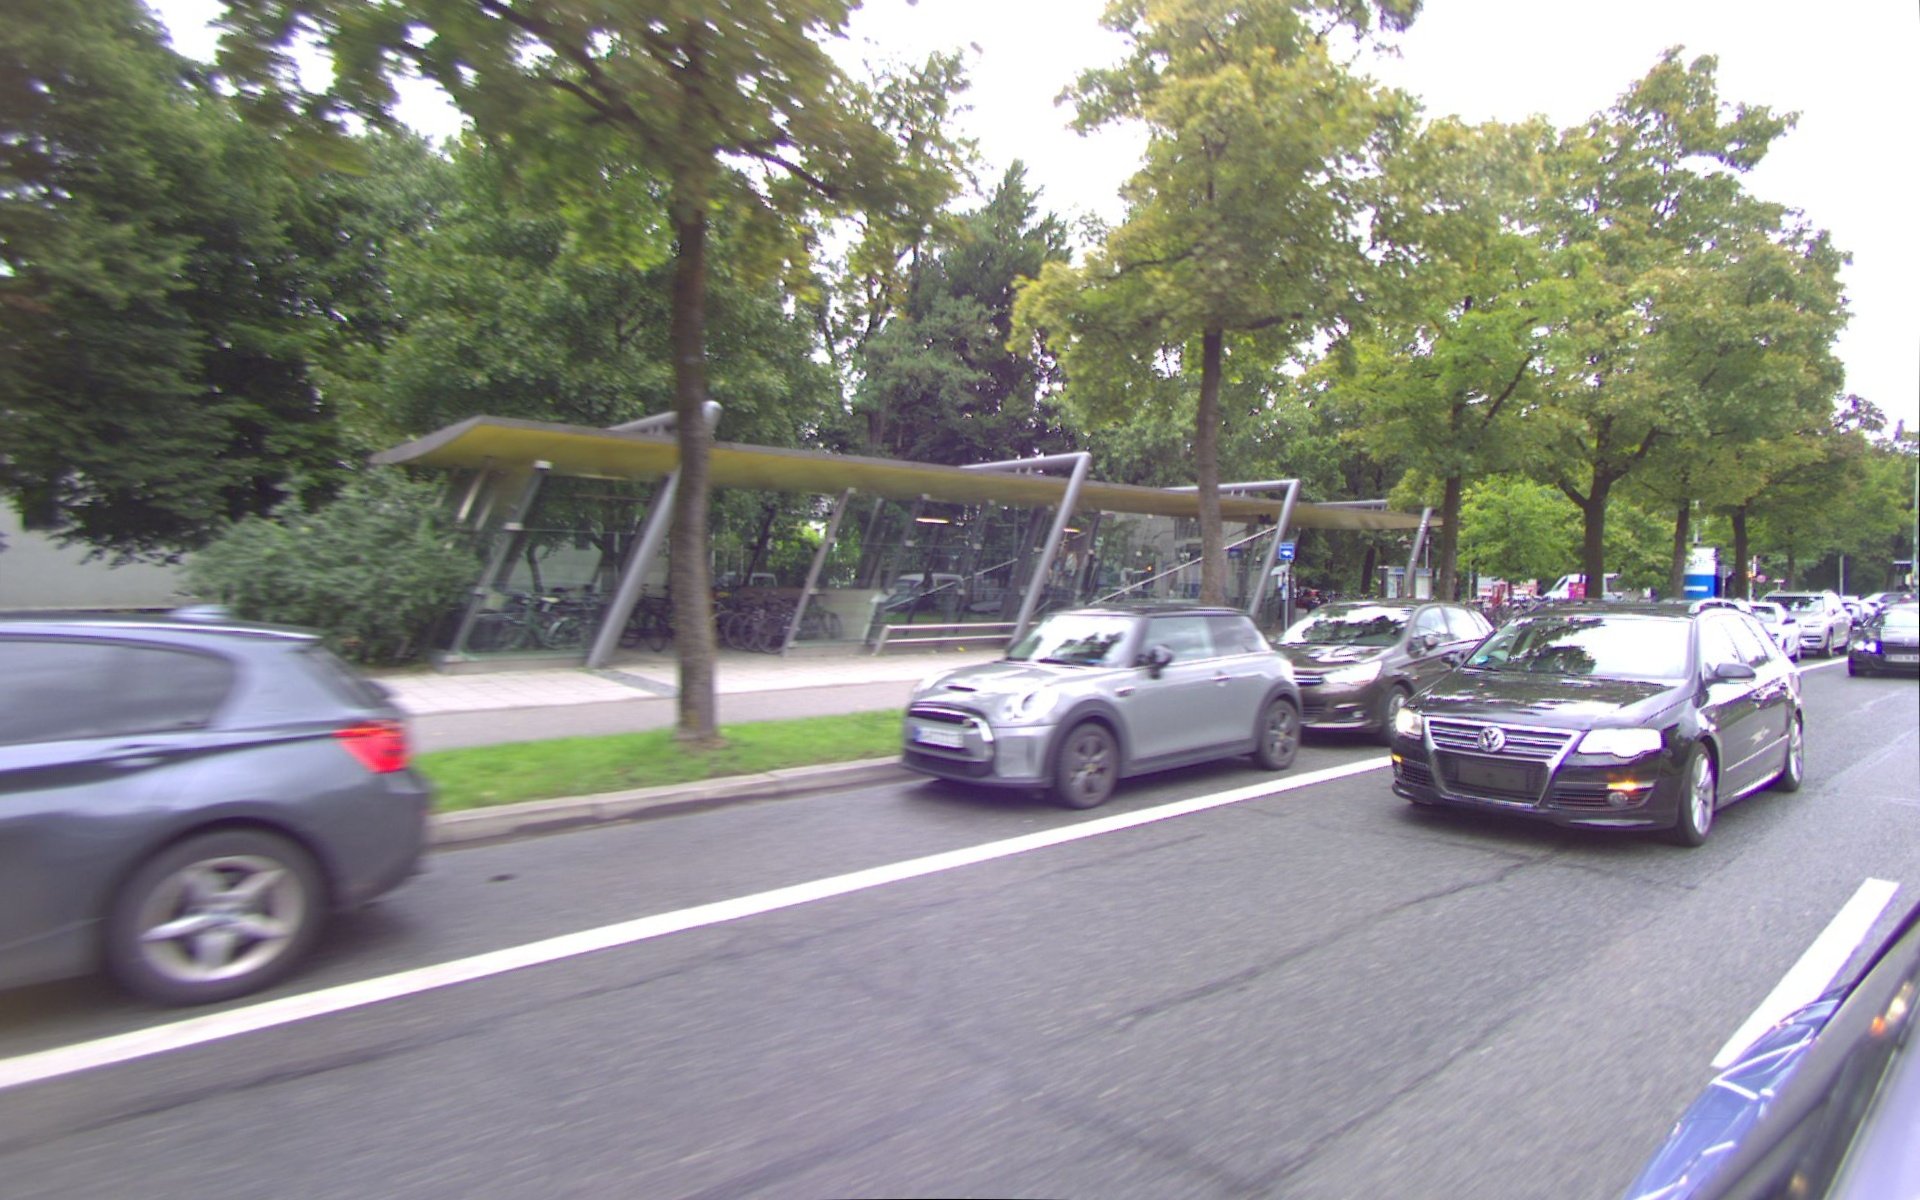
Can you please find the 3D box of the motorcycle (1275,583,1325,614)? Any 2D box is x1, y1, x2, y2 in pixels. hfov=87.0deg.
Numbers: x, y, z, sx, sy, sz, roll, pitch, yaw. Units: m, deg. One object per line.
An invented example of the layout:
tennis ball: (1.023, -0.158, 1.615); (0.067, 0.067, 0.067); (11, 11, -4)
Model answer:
motorcycle: (13.449, -0.056, 40.006); (1.775, 1.192, 0.660); (1, 1, -15)

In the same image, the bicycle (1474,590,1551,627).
bicycle: (19.743, 0.283, 36.233); (0.520, 1.171, 2.344); (1, 3, -40)

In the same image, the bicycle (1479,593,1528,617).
bicycle: (27.704, 0.236, 51.574); (2.088, 1.168, 0.718); (1, 1, 0)

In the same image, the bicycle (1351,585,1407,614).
bicycle: (19.215, -0.053, 46.445); (0.520, 1.171, 2.344); (1, 3, -40)

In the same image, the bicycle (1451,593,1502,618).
bicycle: (25.291, 0.244, 49.603); (2.091, 1.168, 0.718); (1, 1, 5)

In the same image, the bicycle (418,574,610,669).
bicycle: (-6.512, 0.275, 14.887); (2.506, 1.296, 0.646); (0, 1, -41)

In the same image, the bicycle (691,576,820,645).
bicycle: (-4.022, 0.191, 20.098); (2.506, 1.296, 0.646); (0, 1, -41)

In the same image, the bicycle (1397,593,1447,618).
bicycle: (22.599, 0.246, 49.501); (2.092, 1.168, 0.717); (1, 1, 7)

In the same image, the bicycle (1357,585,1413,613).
bicycle: (19.704, -0.055, 46.969); (0.520, 1.171, 2.344); (1, 3, -40)

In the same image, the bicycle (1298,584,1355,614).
bicycle: (16.020, -0.042, 44.307); (0.520, 1.171, 2.344); (1, 3, -40)

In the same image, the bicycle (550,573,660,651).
bicycle: (-6.367, 0.184, 18.056); (2.534, 1.296, 0.486); (1, 1, 36)

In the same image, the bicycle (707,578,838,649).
bicycle: (-3.592, 0.232, 19.579); (2.506, 1.296, 0.646); (0, 1, -41)

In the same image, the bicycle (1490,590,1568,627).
bicycle: (20.573, 0.300, 36.639); (2.337, 1.171, 0.521); (5, 3, 42)

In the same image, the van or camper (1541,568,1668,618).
van or camper: (31.636, -0.353, 49.648); (6.069, 2.325, 2.153); (0, 1, -23)

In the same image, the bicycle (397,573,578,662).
bicycle: (-7.402, 0.244, 15.965); (2.506, 1.296, 0.646); (0, 1, -41)

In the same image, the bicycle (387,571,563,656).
bicycle: (-7.842, 0.191, 16.473); (2.506, 1.296, 0.646); (0, 1, -41)

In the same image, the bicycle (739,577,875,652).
bicycle: (-2.757, 0.239, 18.536); (2.506, 1.296, 0.646); (0, 1, -41)

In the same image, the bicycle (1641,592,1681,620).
bicycle: (31.956, 0.258, 46.111); (1.962, 1.213, 0.864); (0, 3, -37)

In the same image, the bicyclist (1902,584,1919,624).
bicyclist: (43.329, 0.161, 45.734); (0.815, 1.786, 0.743); (1, 1, 14)

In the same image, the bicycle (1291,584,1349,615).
bicycle: (15.582, -0.041, 43.856); (0.520, 1.171, 2.344); (1, 3, -40)

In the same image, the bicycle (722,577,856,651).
bicycle: (-3.186, 0.236, 19.053); (2.506, 1.296, 0.646); (0, 1, -41)

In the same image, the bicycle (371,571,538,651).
bicycle: (-8.684, 0.161, 17.484); (2.506, 1.296, 0.605); (0, 1, -41)

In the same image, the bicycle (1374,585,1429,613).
bicycle: (20.761, -0.058, 47.659); (0.520, 1.171, 2.344); (1, 3, -40)

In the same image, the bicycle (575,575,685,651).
bicycle: (-6.059, 0.211, 18.493); (2.534, 1.296, 0.486); (1, 1, 36)

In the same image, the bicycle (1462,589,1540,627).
bicycle: (18.981, 0.274, 35.578); (0.520, 1.171, 2.344); (1, 3, -40)

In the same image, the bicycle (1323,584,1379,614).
bicycle: (17.404, -0.046, 45.096); (0.520, 1.171, 2.344); (1, 3, -40)

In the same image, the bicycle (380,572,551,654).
bicycle: (-8.255, 0.192, 17.000); (2.506, 1.296, 0.646); (0, 1, -41)

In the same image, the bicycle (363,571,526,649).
bicycle: (-9.099, 0.153, 17.954); (2.506, 1.296, 0.605); (0, 1, -41)

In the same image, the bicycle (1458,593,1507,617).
bicycle: (26.207, 0.240, 50.760); (2.088, 1.168, 0.718); (1, 1, 0)

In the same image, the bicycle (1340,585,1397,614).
bicycle: (18.448, -0.050, 45.744); (0.520, 1.171, 2.344); (1, 3, -40)

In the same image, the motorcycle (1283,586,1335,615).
motorcycle: (13.468, 0.019, 39.092); (1.778, 1.075, 0.659); (1, 1, -2)

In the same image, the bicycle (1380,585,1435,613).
bicycle: (21.205, -0.059, 48.034); (0.520, 1.171, 2.344); (1, 3, -40)

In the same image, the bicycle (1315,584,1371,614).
bicycle: (16.923, -0.045, 44.764); (0.520, 1.171, 2.344); (1, 3, -40)

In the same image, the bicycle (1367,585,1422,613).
bicycle: (20.292, -0.056, 47.323); (0.520, 1.171, 2.344); (1, 3, -40)

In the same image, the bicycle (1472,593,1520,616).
bicycle: (27.728, 0.234, 52.380); (2.088, 1.168, 0.718); (1, 1, 0)
